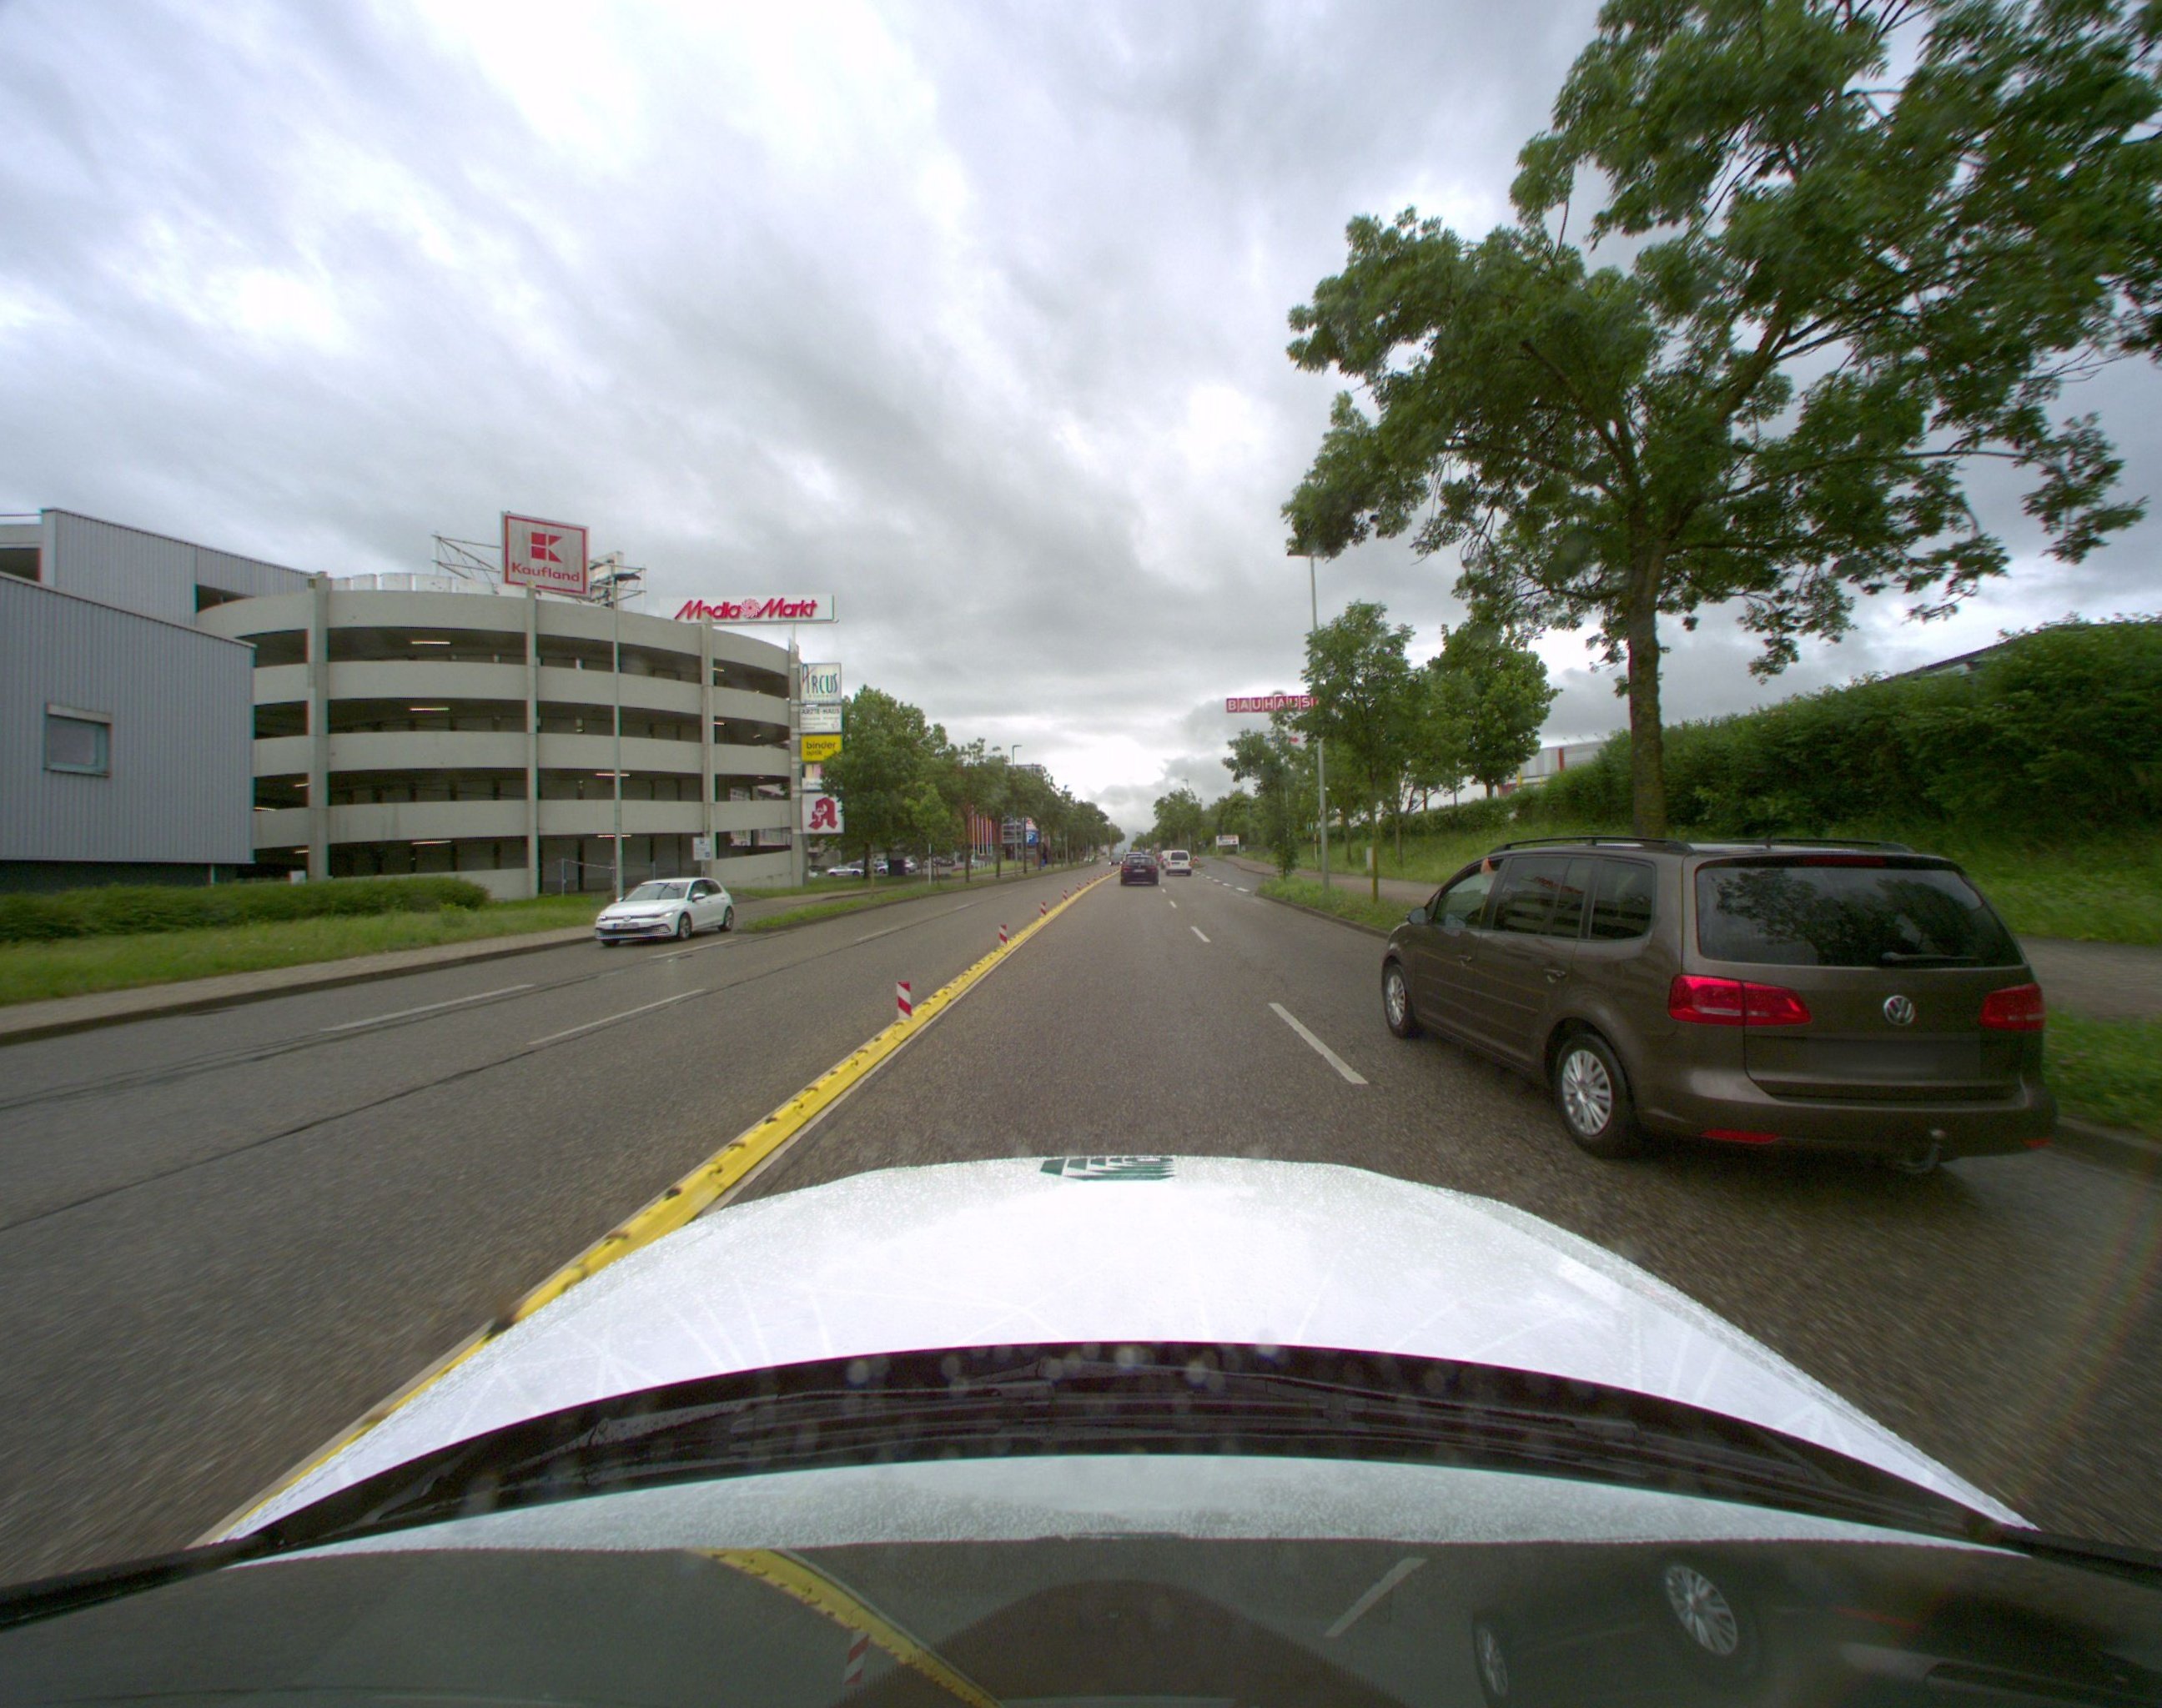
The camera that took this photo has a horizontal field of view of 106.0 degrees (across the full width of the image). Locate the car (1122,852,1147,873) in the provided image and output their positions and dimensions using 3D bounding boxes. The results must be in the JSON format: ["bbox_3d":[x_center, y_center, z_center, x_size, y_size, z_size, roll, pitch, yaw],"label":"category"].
[{"bbox_3d":[3.948,0.624,59.970,1.786,1.510,4.004,0,-1,4],"label":"car"}]

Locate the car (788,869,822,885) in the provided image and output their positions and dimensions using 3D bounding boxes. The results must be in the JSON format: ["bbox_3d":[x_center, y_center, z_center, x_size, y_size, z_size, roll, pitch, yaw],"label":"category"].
[{"bbox_3d":[-26.761,2.240,78.973,2.692,1.365,1.607,-3,1,-6],"label":"car"}]

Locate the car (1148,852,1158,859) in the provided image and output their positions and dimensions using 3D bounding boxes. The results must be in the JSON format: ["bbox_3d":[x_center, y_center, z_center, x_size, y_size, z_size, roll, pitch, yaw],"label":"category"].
[{"bbox_3d":[14.852,0.296,167.937,1.786,1.510,4.003,0,-1,3],"label":"car"}]

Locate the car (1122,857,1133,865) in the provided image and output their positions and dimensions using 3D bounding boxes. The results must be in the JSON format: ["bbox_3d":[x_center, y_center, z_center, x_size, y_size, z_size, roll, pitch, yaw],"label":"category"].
[{"bbox_3d":[8.152,1.222,142.412,1.753,1.425,4.187,-2,0,6],"label":"car"}]

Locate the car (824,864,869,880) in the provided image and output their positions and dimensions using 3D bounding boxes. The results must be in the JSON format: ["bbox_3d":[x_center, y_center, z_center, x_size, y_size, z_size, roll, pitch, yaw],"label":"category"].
[{"bbox_3d":[-26.852,2.036,93.412,4.594,1.745,1.962,-1,1,-7],"label":"car"}]

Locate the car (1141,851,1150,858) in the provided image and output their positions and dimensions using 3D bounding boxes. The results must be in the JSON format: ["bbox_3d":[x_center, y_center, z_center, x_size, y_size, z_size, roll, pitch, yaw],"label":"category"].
[{"bbox_3d":[14.174,0.128,178.207,1.788,1.510,4.001,0,-1,1],"label":"car"}]

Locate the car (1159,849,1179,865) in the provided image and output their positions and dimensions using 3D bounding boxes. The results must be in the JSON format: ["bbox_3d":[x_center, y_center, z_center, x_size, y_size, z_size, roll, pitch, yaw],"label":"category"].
[{"bbox_3d":[8.694,0.330,80.749,1.786,1.510,4.004,0,-1,4],"label":"car"}]

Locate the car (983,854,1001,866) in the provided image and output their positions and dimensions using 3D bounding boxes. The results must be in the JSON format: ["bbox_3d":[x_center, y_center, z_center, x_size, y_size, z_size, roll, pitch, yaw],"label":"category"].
[{"bbox_3d":[-14.064,0.949,128.695,2.129,1.773,4.611,0,1,2],"label":"car"}]

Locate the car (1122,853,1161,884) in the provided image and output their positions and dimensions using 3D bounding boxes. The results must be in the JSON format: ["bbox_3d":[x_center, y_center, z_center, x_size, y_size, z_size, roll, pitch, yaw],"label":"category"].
[{"bbox_3d":[2.975,0.685,40.422,1.819,1.468,4.004,-1,0,3],"label":"car"}]

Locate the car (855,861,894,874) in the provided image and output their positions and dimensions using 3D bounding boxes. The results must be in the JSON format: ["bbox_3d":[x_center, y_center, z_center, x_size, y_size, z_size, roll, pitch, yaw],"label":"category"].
[{"bbox_3d":[-27.259,1.782,107.476,4.600,1.510,2.023,-1,1,-4],"label":"car"}]

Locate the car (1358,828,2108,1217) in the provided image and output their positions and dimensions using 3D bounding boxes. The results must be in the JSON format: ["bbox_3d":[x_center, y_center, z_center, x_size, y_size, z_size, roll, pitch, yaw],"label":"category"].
[{"bbox_3d":[3.386,0.683,5.440,1.679,1.581,4.219,0,0,1],"label":"car"}]

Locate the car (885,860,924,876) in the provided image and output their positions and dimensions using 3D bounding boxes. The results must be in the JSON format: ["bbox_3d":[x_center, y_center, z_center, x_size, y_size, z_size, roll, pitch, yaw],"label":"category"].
[{"bbox_3d":[-21.997,1.735,101.476,4.490,1.745,1.898,-1,1,-4],"label":"car"}]

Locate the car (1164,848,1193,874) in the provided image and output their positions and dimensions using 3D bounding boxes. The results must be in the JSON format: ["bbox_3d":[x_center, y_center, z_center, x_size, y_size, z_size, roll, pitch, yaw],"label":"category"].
[{"bbox_3d":[7.010,0.479,58.734,1.819,1.759,4.004,0,0,3],"label":"car"}]

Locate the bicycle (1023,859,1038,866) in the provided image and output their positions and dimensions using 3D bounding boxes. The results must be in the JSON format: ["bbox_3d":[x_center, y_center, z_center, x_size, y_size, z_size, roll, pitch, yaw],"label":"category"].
[{"bbox_3d":[-7.787,1.307,126.527,2.065,0.935,1.096,3,0,8],"label":"bicycle"}]

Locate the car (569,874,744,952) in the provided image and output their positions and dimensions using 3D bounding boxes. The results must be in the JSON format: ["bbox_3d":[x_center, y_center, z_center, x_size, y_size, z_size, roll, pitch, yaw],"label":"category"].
[{"bbox_3d":[-9.895,1.301,19.446,1.895,1.408,4.420,-3,0,-2],"label":"car"}]

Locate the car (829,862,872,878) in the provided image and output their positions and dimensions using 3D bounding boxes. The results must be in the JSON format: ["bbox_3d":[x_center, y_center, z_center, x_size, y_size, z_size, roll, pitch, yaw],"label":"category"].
[{"bbox_3d":[-27.184,1.925,96.331,4.594,1.745,2.129,-1,1,-7],"label":"car"}]

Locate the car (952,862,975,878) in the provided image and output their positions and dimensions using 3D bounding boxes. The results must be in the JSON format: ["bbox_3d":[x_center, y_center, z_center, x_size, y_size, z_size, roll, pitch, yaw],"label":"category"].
[{"bbox_3d":[-13.488,1.797,93.394,1.927,1.608,4.710,-1,1,0],"label":"car"}]

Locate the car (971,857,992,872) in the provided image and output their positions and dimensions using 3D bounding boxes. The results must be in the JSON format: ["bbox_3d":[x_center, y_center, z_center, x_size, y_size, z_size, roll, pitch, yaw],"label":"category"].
[{"bbox_3d":[-13.196,1.407,107.931,2.031,1.762,4.948,-1,1,2],"label":"car"}]

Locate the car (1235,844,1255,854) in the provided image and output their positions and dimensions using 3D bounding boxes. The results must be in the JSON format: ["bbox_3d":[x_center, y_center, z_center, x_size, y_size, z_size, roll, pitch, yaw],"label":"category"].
[{"bbox_3d":[26.317,-0.805,130.448,1.777,1.510,4.025,0,-1,33],"label":"car"}]

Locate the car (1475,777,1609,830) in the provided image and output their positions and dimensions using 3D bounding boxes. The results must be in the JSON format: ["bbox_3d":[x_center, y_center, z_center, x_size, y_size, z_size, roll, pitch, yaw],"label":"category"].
[{"bbox_3d":[23.614,-2.556,41.825,5.595,2.142,2.119,-5,-1,-3],"label":"car"}]

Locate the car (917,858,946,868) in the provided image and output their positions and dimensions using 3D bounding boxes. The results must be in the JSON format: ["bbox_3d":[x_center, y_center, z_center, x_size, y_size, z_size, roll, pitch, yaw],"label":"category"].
[{"bbox_3d":[-23.141,1.386,126.170,4.100,1.510,1.817,-1,1,-4],"label":"car"}]

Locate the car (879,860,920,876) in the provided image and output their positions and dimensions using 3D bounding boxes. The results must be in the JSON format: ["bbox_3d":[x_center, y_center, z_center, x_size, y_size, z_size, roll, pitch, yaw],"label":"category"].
[{"bbox_3d":[-21.975,1.680,98.712,4.589,1.745,1.965,-1,1,-4],"label":"car"}]

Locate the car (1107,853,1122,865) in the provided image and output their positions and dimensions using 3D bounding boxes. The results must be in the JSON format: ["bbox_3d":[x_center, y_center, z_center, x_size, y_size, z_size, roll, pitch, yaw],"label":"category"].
[{"bbox_3d":[4.656,0.667,112.626,1.818,1.466,4.622,-2,0,5],"label":"car"}]

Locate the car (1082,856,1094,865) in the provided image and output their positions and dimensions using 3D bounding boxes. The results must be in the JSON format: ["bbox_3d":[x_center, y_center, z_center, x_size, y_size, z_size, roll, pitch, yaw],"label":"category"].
[{"bbox_3d":[1.247,1.178,152.964,1.858,1.553,4.581,-4,0,4],"label":"car"}]

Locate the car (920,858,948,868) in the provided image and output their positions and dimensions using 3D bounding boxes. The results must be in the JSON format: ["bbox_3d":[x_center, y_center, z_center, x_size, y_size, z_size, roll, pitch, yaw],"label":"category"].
[{"bbox_3d":[-23.204,1.384,128.409,4.100,1.510,1.817,-1,1,-4],"label":"car"}]

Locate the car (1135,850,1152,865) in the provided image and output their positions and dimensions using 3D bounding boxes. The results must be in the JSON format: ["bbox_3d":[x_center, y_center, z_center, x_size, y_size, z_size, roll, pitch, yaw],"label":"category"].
[{"bbox_3d":[6.682,0.372,87.334,1.786,1.510,4.004,0,-1,4],"label":"car"}]

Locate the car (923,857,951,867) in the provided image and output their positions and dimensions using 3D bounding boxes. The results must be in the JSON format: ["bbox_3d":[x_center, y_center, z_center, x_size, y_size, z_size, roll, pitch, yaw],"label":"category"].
[{"bbox_3d":[-23.046,1.288,130.395,4.182,1.510,1.817,-1,1,-4],"label":"car"}]
